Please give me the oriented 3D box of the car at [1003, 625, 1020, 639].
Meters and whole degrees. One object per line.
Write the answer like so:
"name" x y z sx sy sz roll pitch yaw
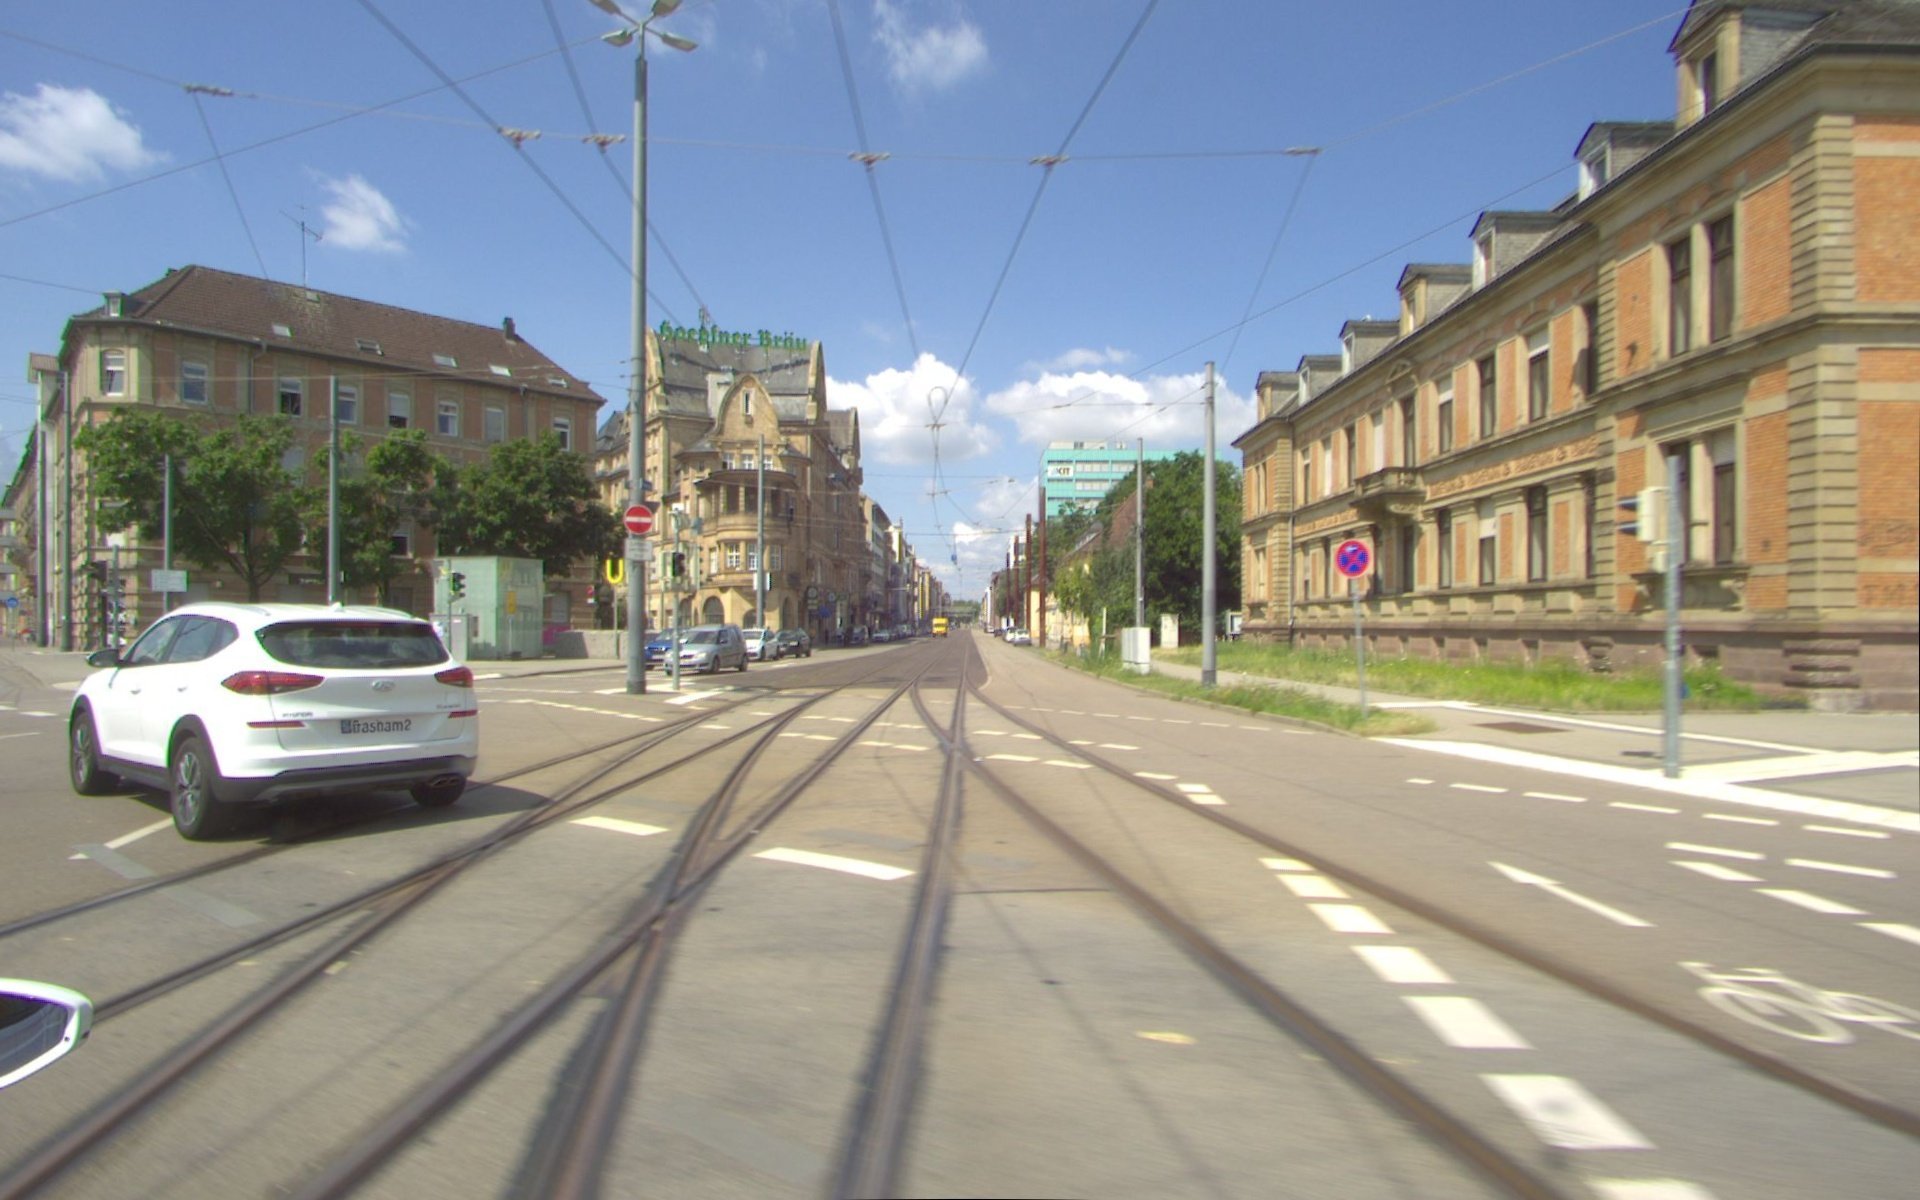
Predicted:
"car" 5.962 3.684 115.748 1.906 1.492 4.264 0 -1 2

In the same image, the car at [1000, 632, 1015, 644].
"car" 6.088 4.816 128.527 1.906 1.492 4.264 0 -1 2

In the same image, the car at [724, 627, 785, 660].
"car" -9.828 2.072 48.114 1.690 1.492 4.140 0 -1 6

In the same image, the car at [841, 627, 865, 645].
"car" -9.313 3.138 87.359 1.690 1.492 4.140 0 -1 -1

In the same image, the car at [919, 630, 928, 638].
"car" -7.615 7.118 210.272 1.690 1.492 4.140 0 -1 -1

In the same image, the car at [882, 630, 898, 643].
"car" -8.697 4.512 124.573 1.690 1.492 4.140 0 -1 -1

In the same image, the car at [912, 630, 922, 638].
"car" -8.023 6.316 186.279 1.690 1.492 4.140 0 -1 -1

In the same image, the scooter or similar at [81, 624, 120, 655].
"scooter or similar" -33.951 1.558 39.577 0.375 1.188 1.522 0 -3 -8

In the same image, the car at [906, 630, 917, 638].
"car" -8.629 6.008 177.854 1.690 1.492 4.140 0 -1 -1

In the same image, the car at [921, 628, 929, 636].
"car" -8.067 7.262 228.788 1.690 1.904 4.140 0 -1 -1

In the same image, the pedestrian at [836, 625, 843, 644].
"pedestrian" -11.013 3.156 91.365 0.600 1.653 0.645 0 -2 0

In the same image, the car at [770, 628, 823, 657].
"car" -8.848 2.266 54.556 1.690 1.492 4.139 0 -1 9

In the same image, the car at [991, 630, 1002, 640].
"car" 6.221 5.962 170.717 1.906 1.492 4.264 0 -1 2

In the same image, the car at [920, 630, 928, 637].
"car" -7.887 7.420 221.893 1.690 1.492 4.140 0 -1 -1

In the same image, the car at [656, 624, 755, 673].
"car" -8.254 1.529 32.857 1.690 1.492 4.139 0 -1 9

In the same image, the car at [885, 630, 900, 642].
"car" -8.771 4.661 130.826 1.690 1.492 4.140 0 -1 -1

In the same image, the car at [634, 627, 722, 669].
"car" -10.657 1.773 38.170 1.690 1.492 4.139 0 -1 9

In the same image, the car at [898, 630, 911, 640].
"car" -8.414 5.352 152.433 1.690 1.492 4.140 0 -1 -1

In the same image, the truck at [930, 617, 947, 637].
"truck" -3.196 3.994 150.124 2.513 2.965 7.112 0 -1 -1

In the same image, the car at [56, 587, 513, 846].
"car" -5.793 0.774 8.429 4.176 1.662 1.876 0 -1 36

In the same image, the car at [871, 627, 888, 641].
"car" -9.061 3.825 112.809 1.690 1.492 4.140 0 -1 -1

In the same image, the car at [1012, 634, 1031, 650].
"car" 5.920 4.020 96.852 1.690 1.492 4.141 0 -1 2
